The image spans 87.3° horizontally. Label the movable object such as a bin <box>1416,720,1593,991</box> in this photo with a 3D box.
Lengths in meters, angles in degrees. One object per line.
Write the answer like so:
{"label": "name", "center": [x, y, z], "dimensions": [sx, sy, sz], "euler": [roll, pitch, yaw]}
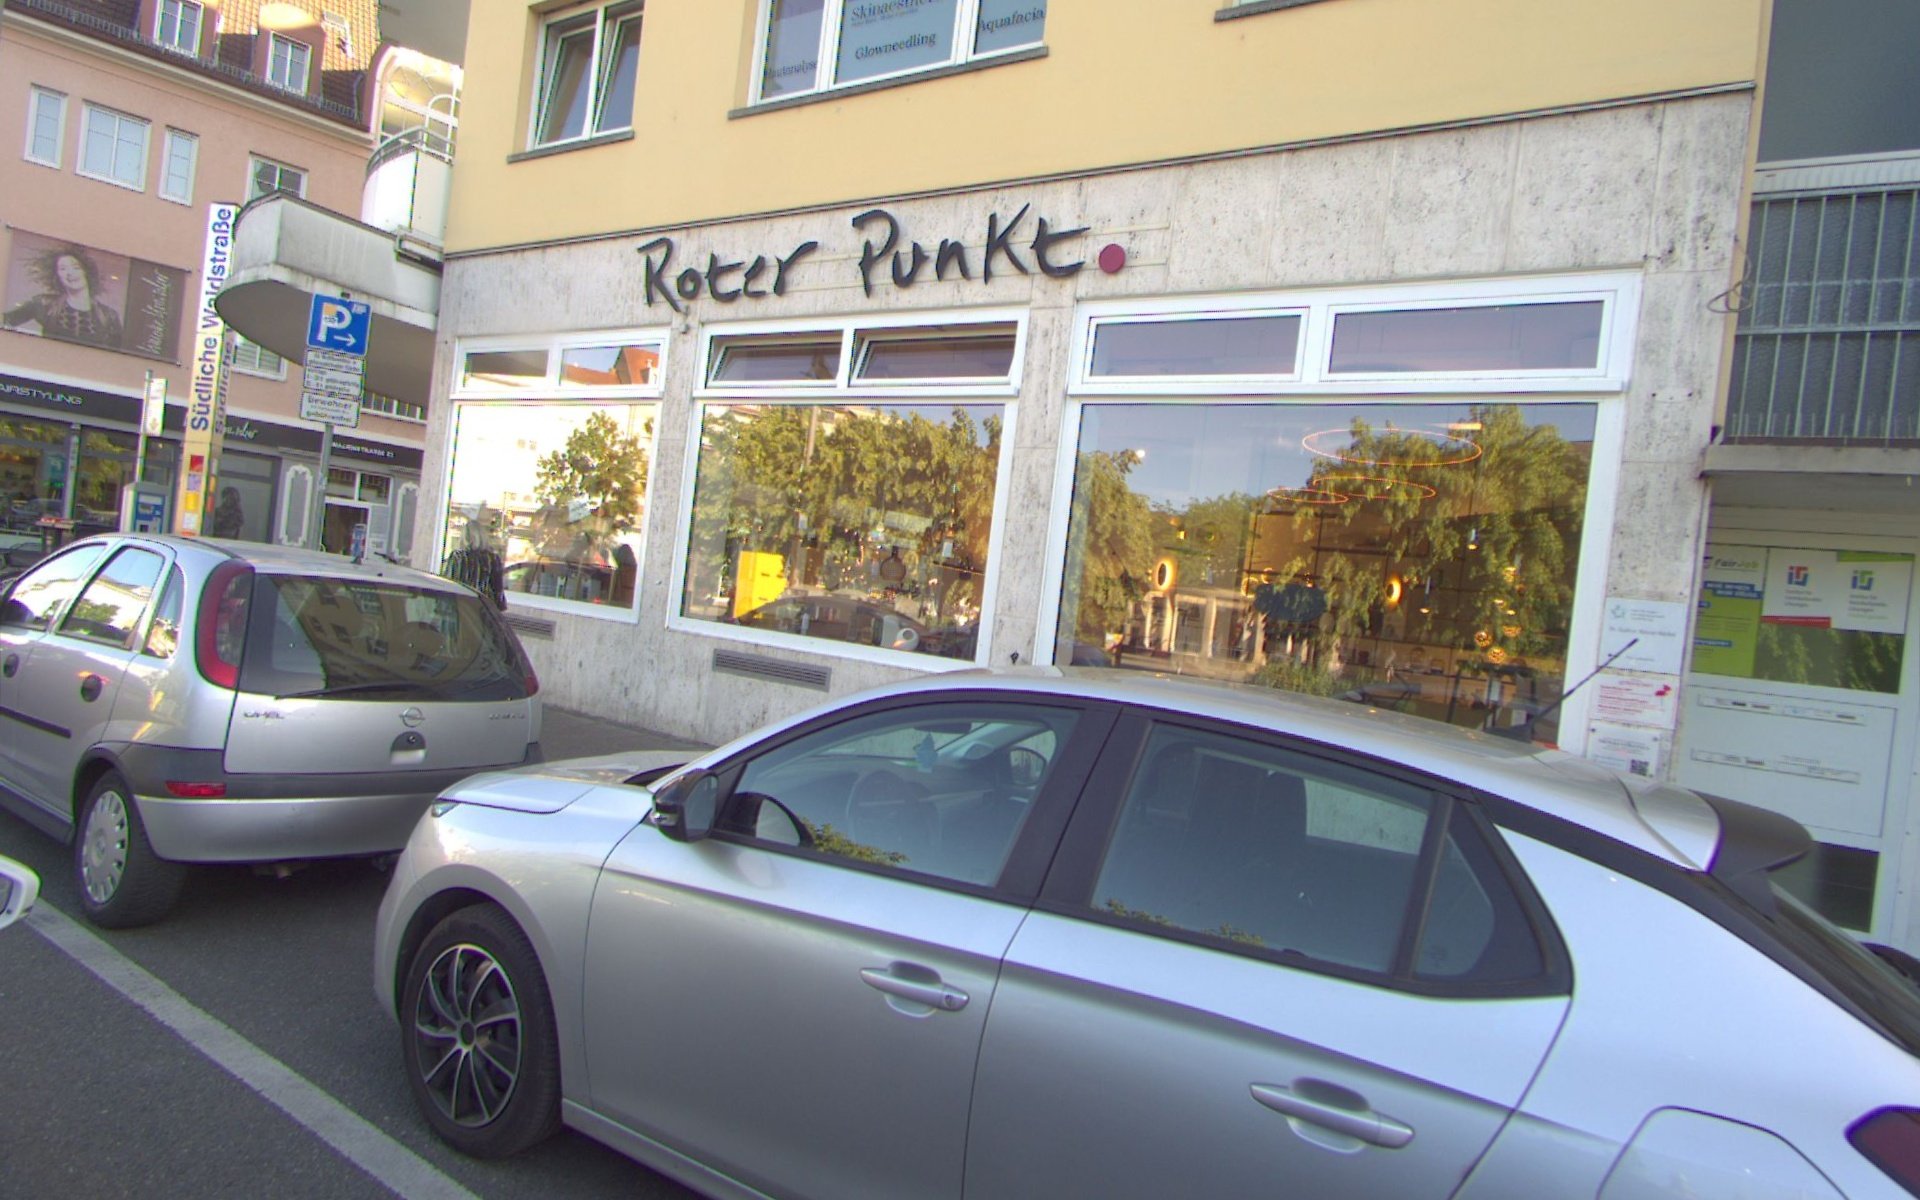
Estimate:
{"label": "movable object such as a bin", "center": [2.686, 1.200, 4.962], "dimensions": [0.609, 1.082, 0.703], "euler": [7, 3, 31]}

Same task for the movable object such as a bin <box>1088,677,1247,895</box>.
{"label": "movable object such as a bin", "center": [1.220, 1.040, 5.875], "dimensions": [0.609, 1.082, 0.703], "euler": [7, 3, 31]}

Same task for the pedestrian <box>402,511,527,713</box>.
{"label": "pedestrian", "center": [-4.305, 0.104, 8.745], "dimensions": [0.618, 1.654, 0.661], "euler": [6, 2, 36]}

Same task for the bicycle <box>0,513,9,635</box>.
{"label": "bicycle", "center": [-9.866, -0.304, 9.174], "dimensions": [0.425, 1.175, 1.629], "euler": [7, 1, 30]}

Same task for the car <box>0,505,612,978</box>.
{"label": "car", "center": [-3.684, 0.383, 4.903], "dimensions": [3.822, 1.411, 1.624], "euler": [7, -1, 33]}

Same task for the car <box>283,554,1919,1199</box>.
{"label": "car", "center": [0.260, 0.858, 2.646], "dimensions": [4.008, 1.444, 1.674], "euler": [7, -1, 30]}
